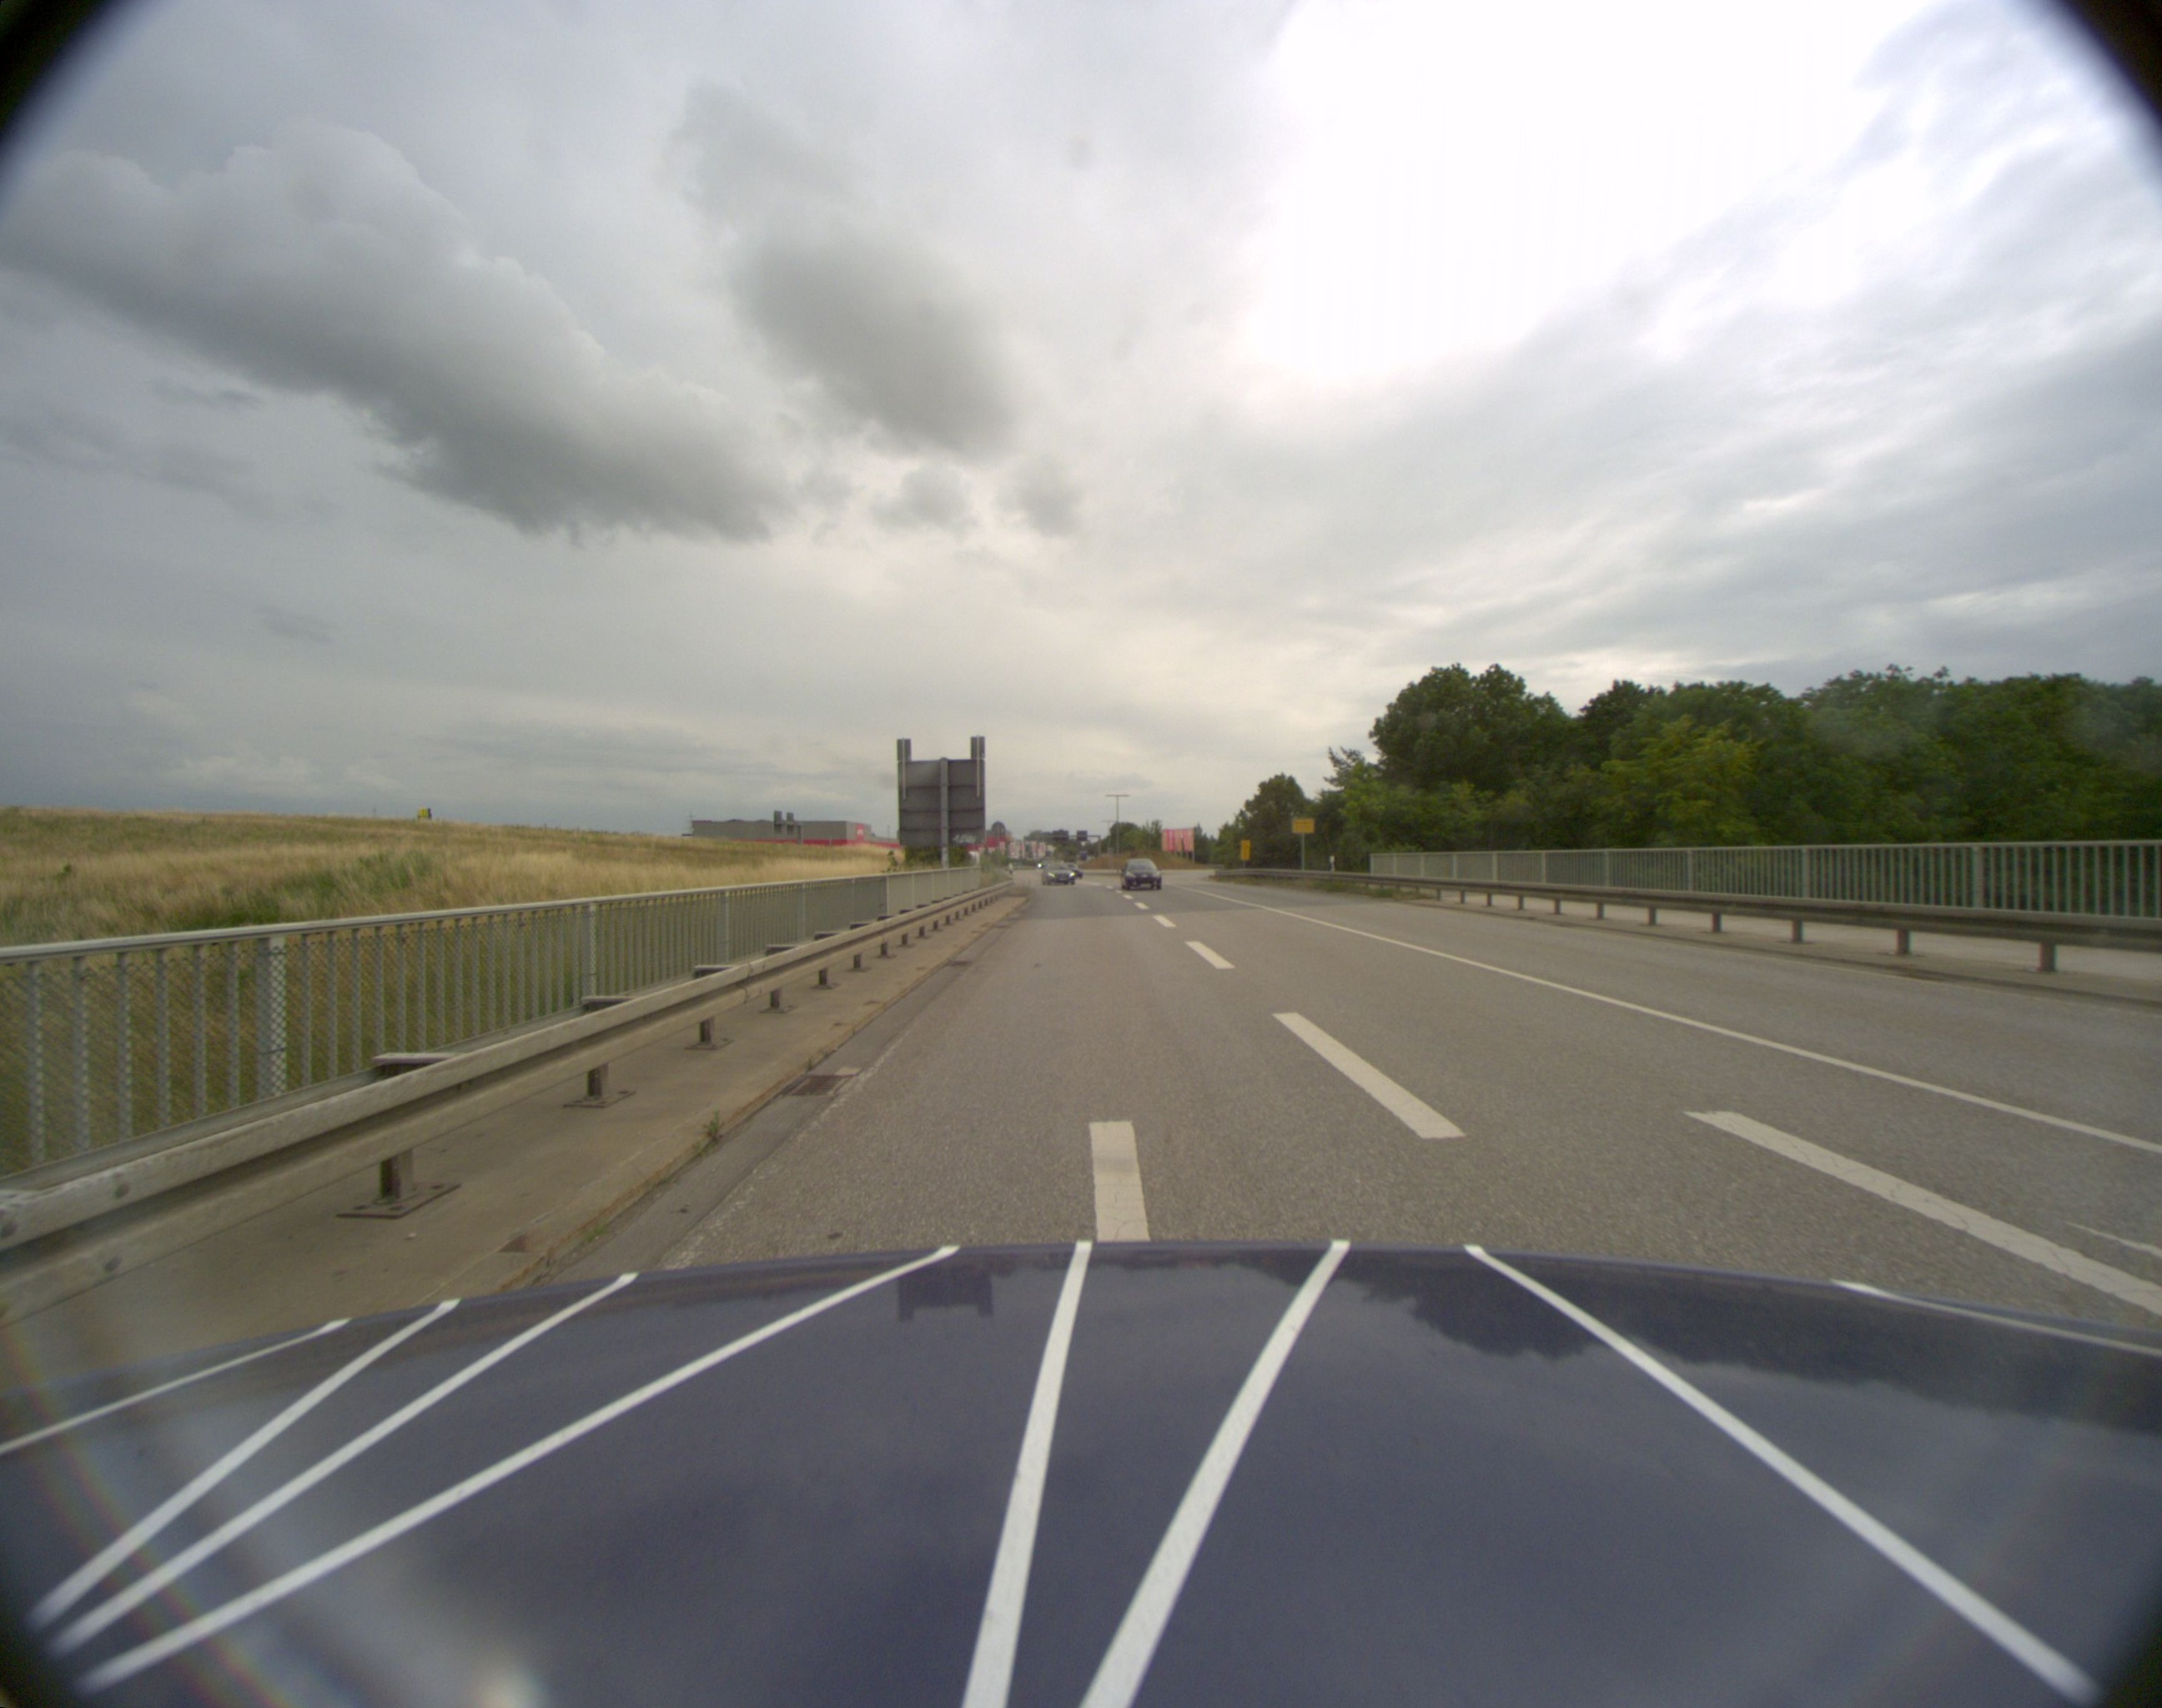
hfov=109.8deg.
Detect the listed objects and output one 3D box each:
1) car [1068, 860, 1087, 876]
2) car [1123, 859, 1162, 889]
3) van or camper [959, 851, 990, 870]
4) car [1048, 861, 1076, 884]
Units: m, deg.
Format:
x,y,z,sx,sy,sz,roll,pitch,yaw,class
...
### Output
x,y,z,sx,sy,sz,roll,pitch,yaw,class
-0.314,1.243,68.112,1.579,1.261,3.314,-1,0,0,car
2.972,0.942,37.205,1.580,1.346,3.824,-2,-1,0,car
-13.661,0.803,97.553,2.050,2.350,5.546,-1,0,12,van or camper
-1.288,1.230,50.877,1.765,1.411,4.091,-2,-2,-2,car
